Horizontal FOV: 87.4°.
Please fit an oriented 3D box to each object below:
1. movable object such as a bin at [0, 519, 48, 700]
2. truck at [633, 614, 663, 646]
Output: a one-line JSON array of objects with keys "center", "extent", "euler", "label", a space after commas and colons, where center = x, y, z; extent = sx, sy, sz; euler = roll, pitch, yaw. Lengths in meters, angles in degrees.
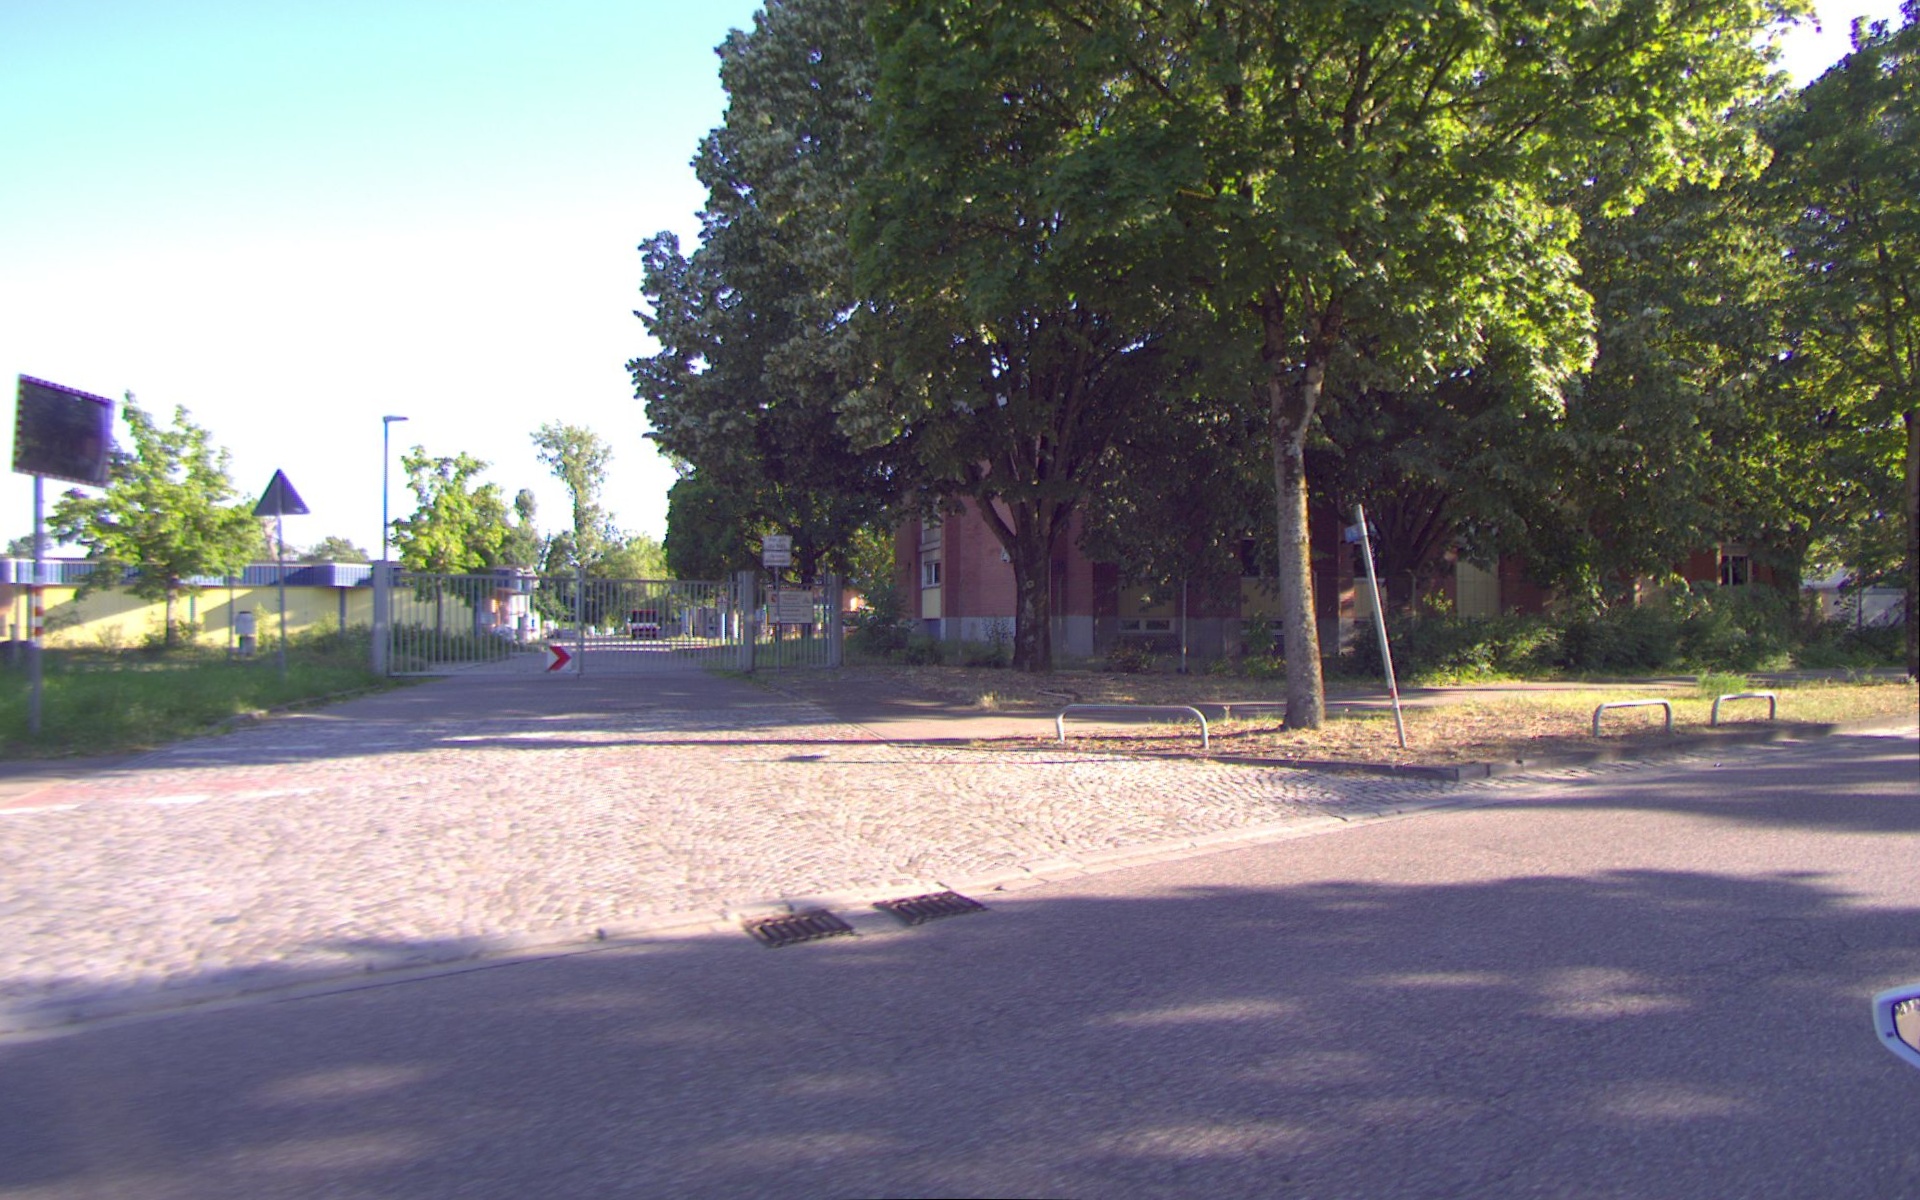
[{"center": [-16.011, 0.119, 13.736], "extent": [2.123, 2.699, 4.804], "euler": [-1, -2, 21], "label": "movable object such as a bin"}, {"center": [-26.964, 2.582, 86.858], "extent": [2.252, 2.618, 4.988], "euler": [0, -1, -15], "label": "truck"}]
